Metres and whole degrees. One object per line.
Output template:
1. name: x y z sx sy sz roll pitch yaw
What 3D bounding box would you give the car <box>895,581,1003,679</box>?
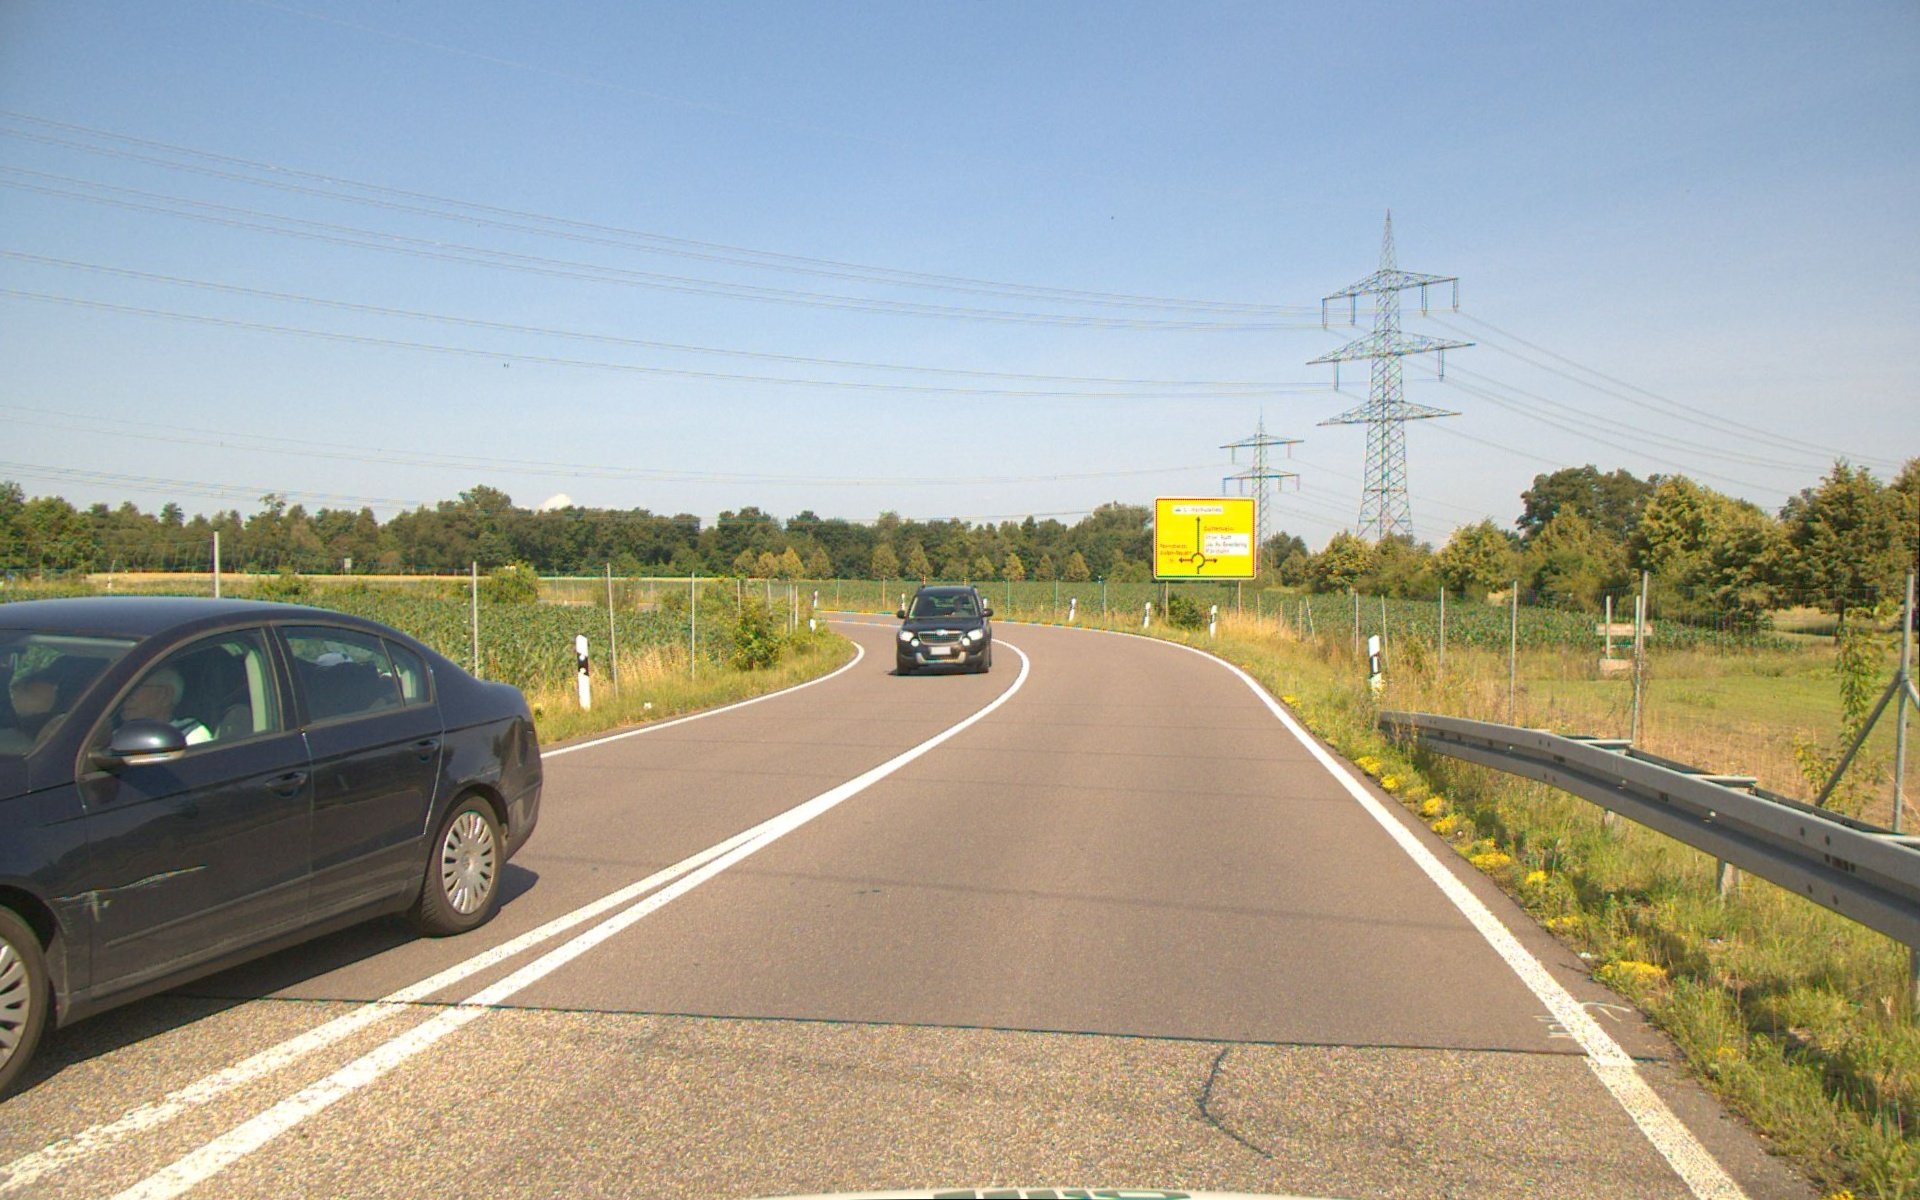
1. car: -0.248 0.540 32.558 1.943 1.736 4.260 -2 0 -1

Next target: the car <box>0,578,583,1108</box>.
1. car: -3.236 0.678 6.103 1.737 1.482 4.596 0 0 13
